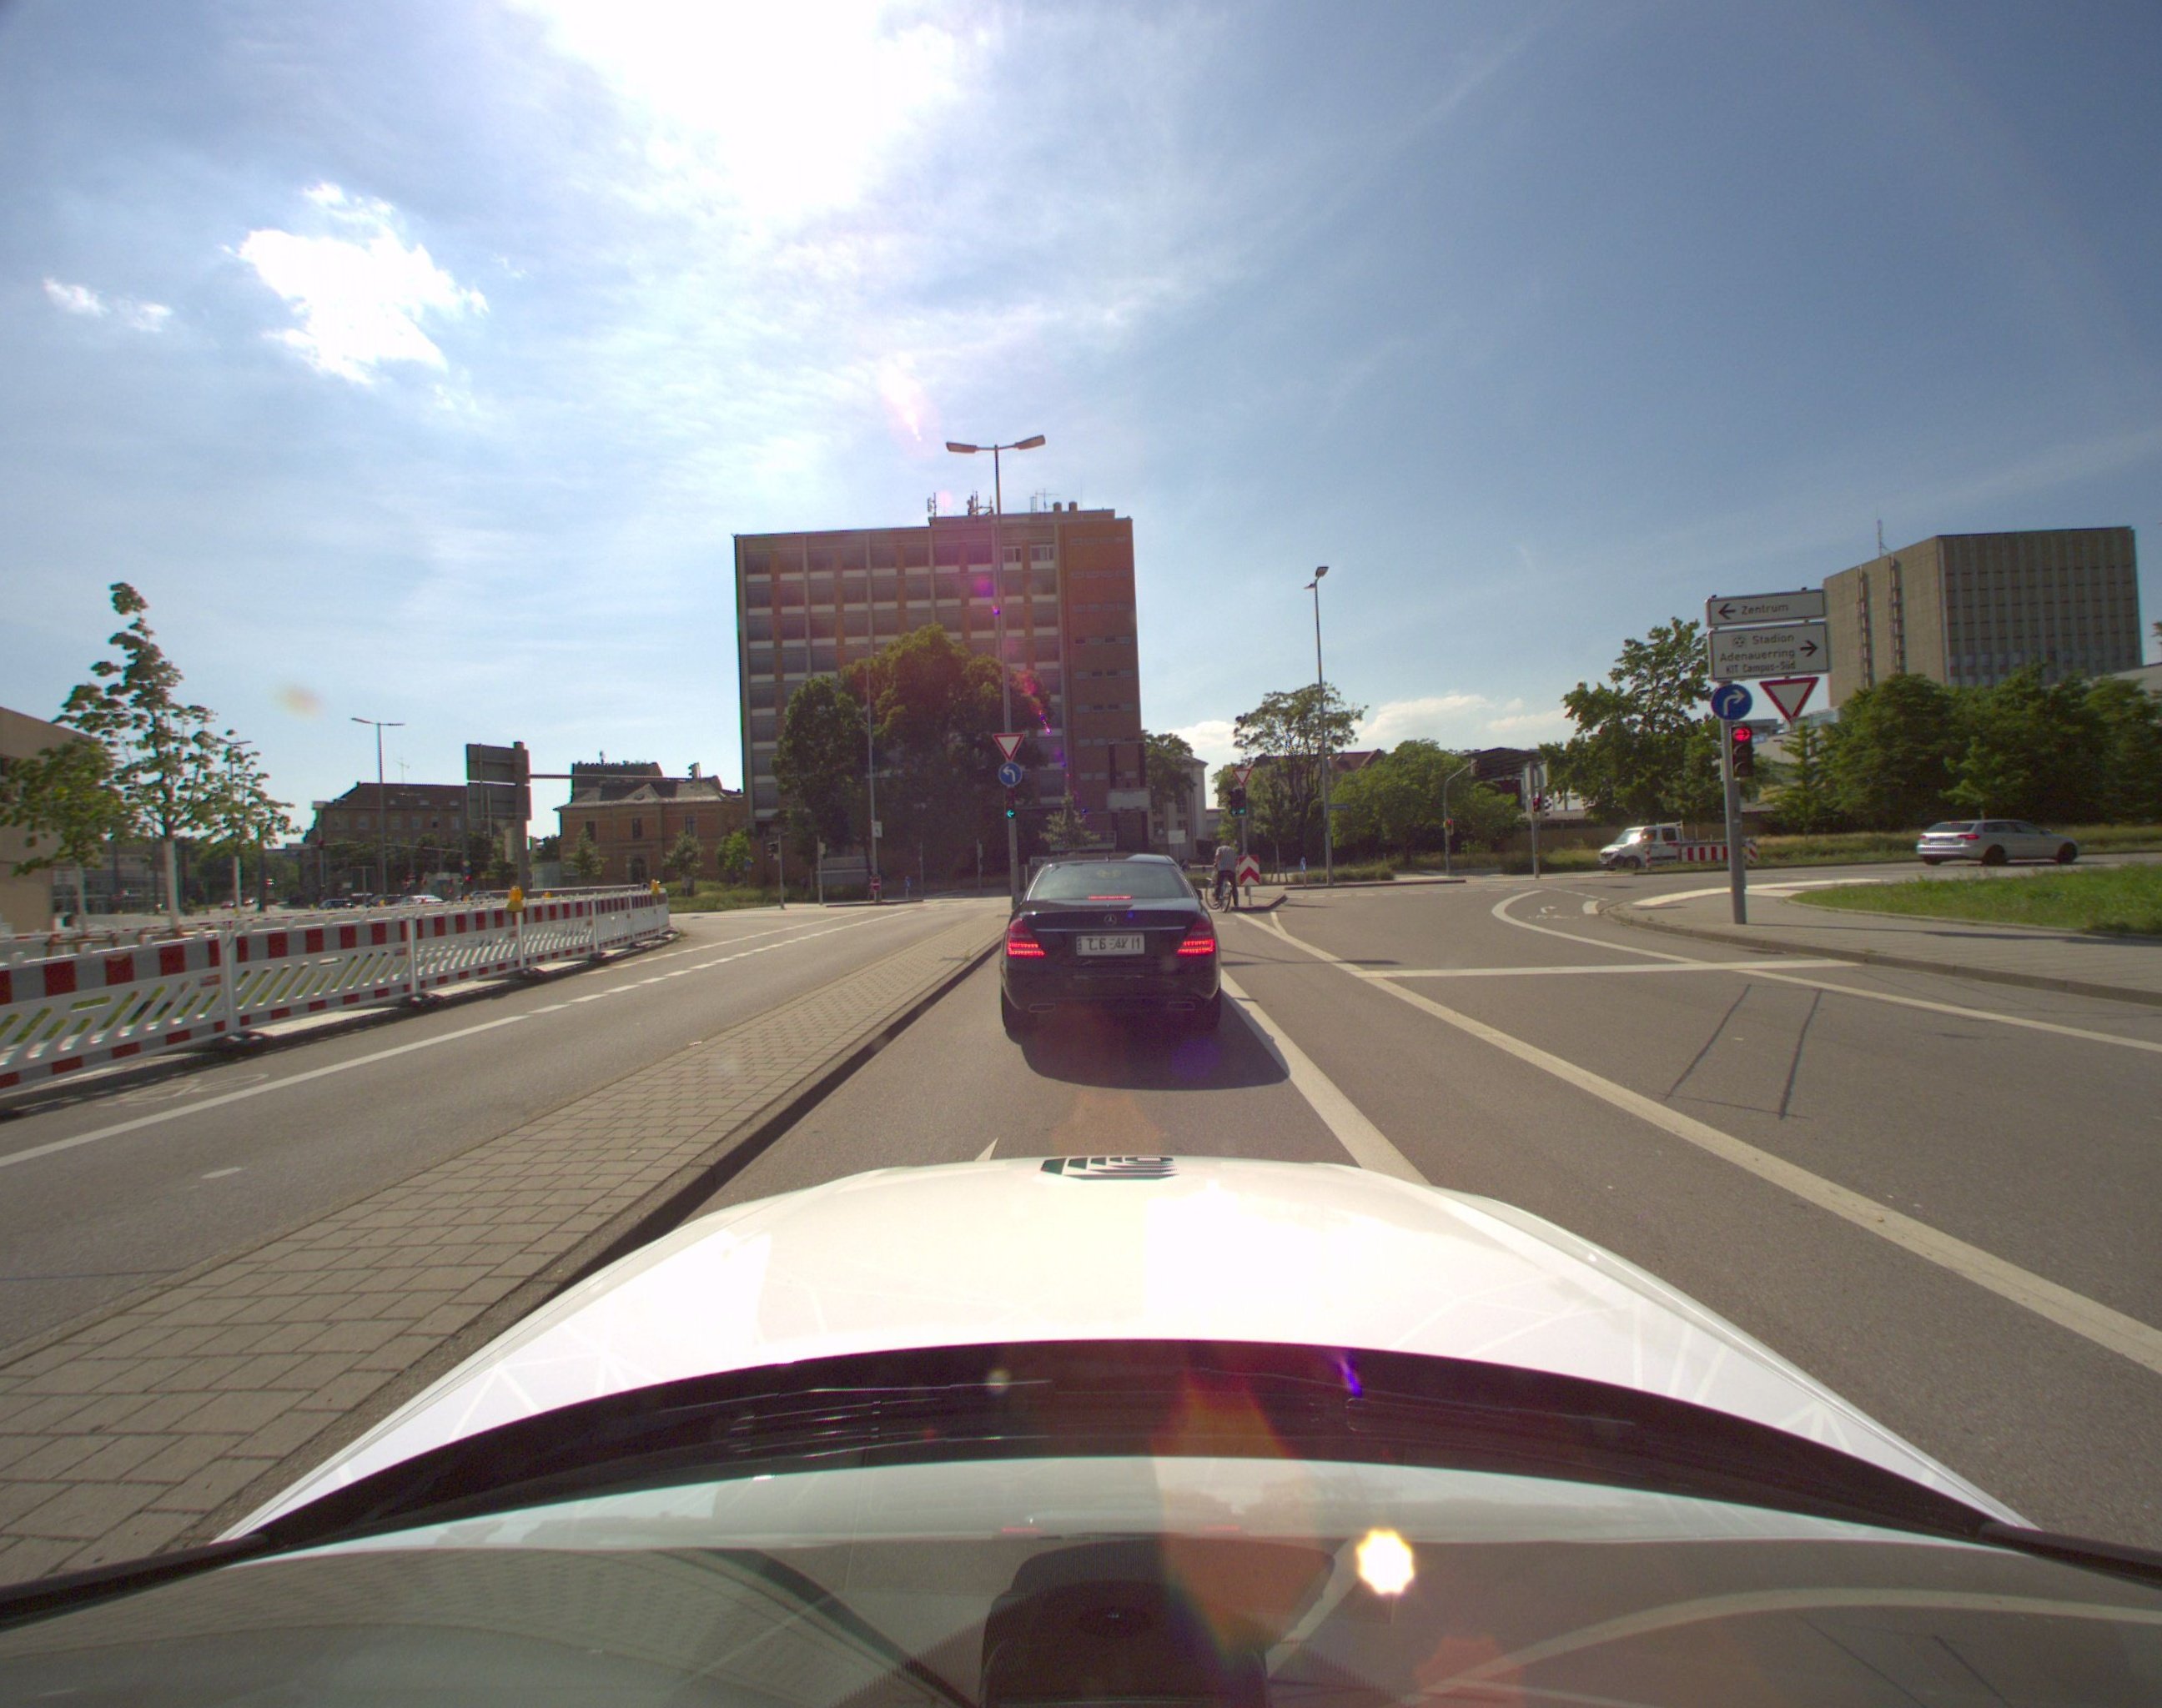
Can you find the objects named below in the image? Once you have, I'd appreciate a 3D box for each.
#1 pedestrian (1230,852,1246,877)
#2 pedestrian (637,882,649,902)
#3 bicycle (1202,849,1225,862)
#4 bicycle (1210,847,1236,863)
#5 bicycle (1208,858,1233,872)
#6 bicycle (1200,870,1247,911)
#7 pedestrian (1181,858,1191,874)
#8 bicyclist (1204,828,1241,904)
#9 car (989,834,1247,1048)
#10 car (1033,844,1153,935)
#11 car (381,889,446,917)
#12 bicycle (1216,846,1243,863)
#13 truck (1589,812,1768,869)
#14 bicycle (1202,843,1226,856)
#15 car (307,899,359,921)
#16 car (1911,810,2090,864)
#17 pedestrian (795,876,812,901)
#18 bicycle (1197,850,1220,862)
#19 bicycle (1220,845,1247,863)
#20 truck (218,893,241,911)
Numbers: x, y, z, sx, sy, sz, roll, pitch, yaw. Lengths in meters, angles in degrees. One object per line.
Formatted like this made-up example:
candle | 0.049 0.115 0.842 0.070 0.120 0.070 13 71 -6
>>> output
pedestrian | 10.060 0.679 52.167 0.807 1.579 0.693 -3 -1 3
pedestrian | -37.314 3.197 69.337 0.642 1.661 0.654 -1 -1 28
bicycle | 16.964 0.231 104.340 2.813 1.500 0.842 -3 0 1
bicycle | 16.763 0.118 96.121 2.813 1.659 0.842 -3 1 1
bicycle | 16.800 1.313 98.123 2.813 1.537 0.842 -3 0 1
bicycle | 3.590 0.901 20.667 0.691 0.946 1.955 0 -1 -4
pedestrian | 8.216 0.921 63.703 0.788 1.214 0.759 -1 -1 8
bicyclist | 3.579 0.291 20.657 0.684 1.878 0.858 -1 -1 -5
car | 0.325 0.648 8.279 1.852 1.530 4.715 -1 -1 1
car | 0.261 0.603 15.513 1.986 1.508 4.001 0 -1 2
car | -48.021 3.521 58.610 3.951 1.816 2.011 -3 -1 24
bicycle | 17.043 0.073 93.627 2.813 1.744 0.842 -3 0 1
truck | 29.927 -0.635 40.989 6.997 2.356 2.414 -3 -2 2
bicycle | 16.546 -0.553 101.583 2.813 1.559 0.842 -3 0 1
car | -55.532 4.166 60.470 3.948 1.510 1.811 -3 -1 32
car | 28.558 -0.509 25.336 4.154 1.420 1.581 -3 0 -7
pedestrian | -20.291 2.532 59.558 0.790 1.725 0.878 -3 -1 24
bicycle | 16.587 0.247 105.907 2.812 1.480 0.842 -3 0 2
bicycle | 17.102 0.040 91.306 2.813 1.836 0.842 -3 0 1
truck | -186.110 10.497 178.041 7.827 3.730 3.093 -4 -1 41
